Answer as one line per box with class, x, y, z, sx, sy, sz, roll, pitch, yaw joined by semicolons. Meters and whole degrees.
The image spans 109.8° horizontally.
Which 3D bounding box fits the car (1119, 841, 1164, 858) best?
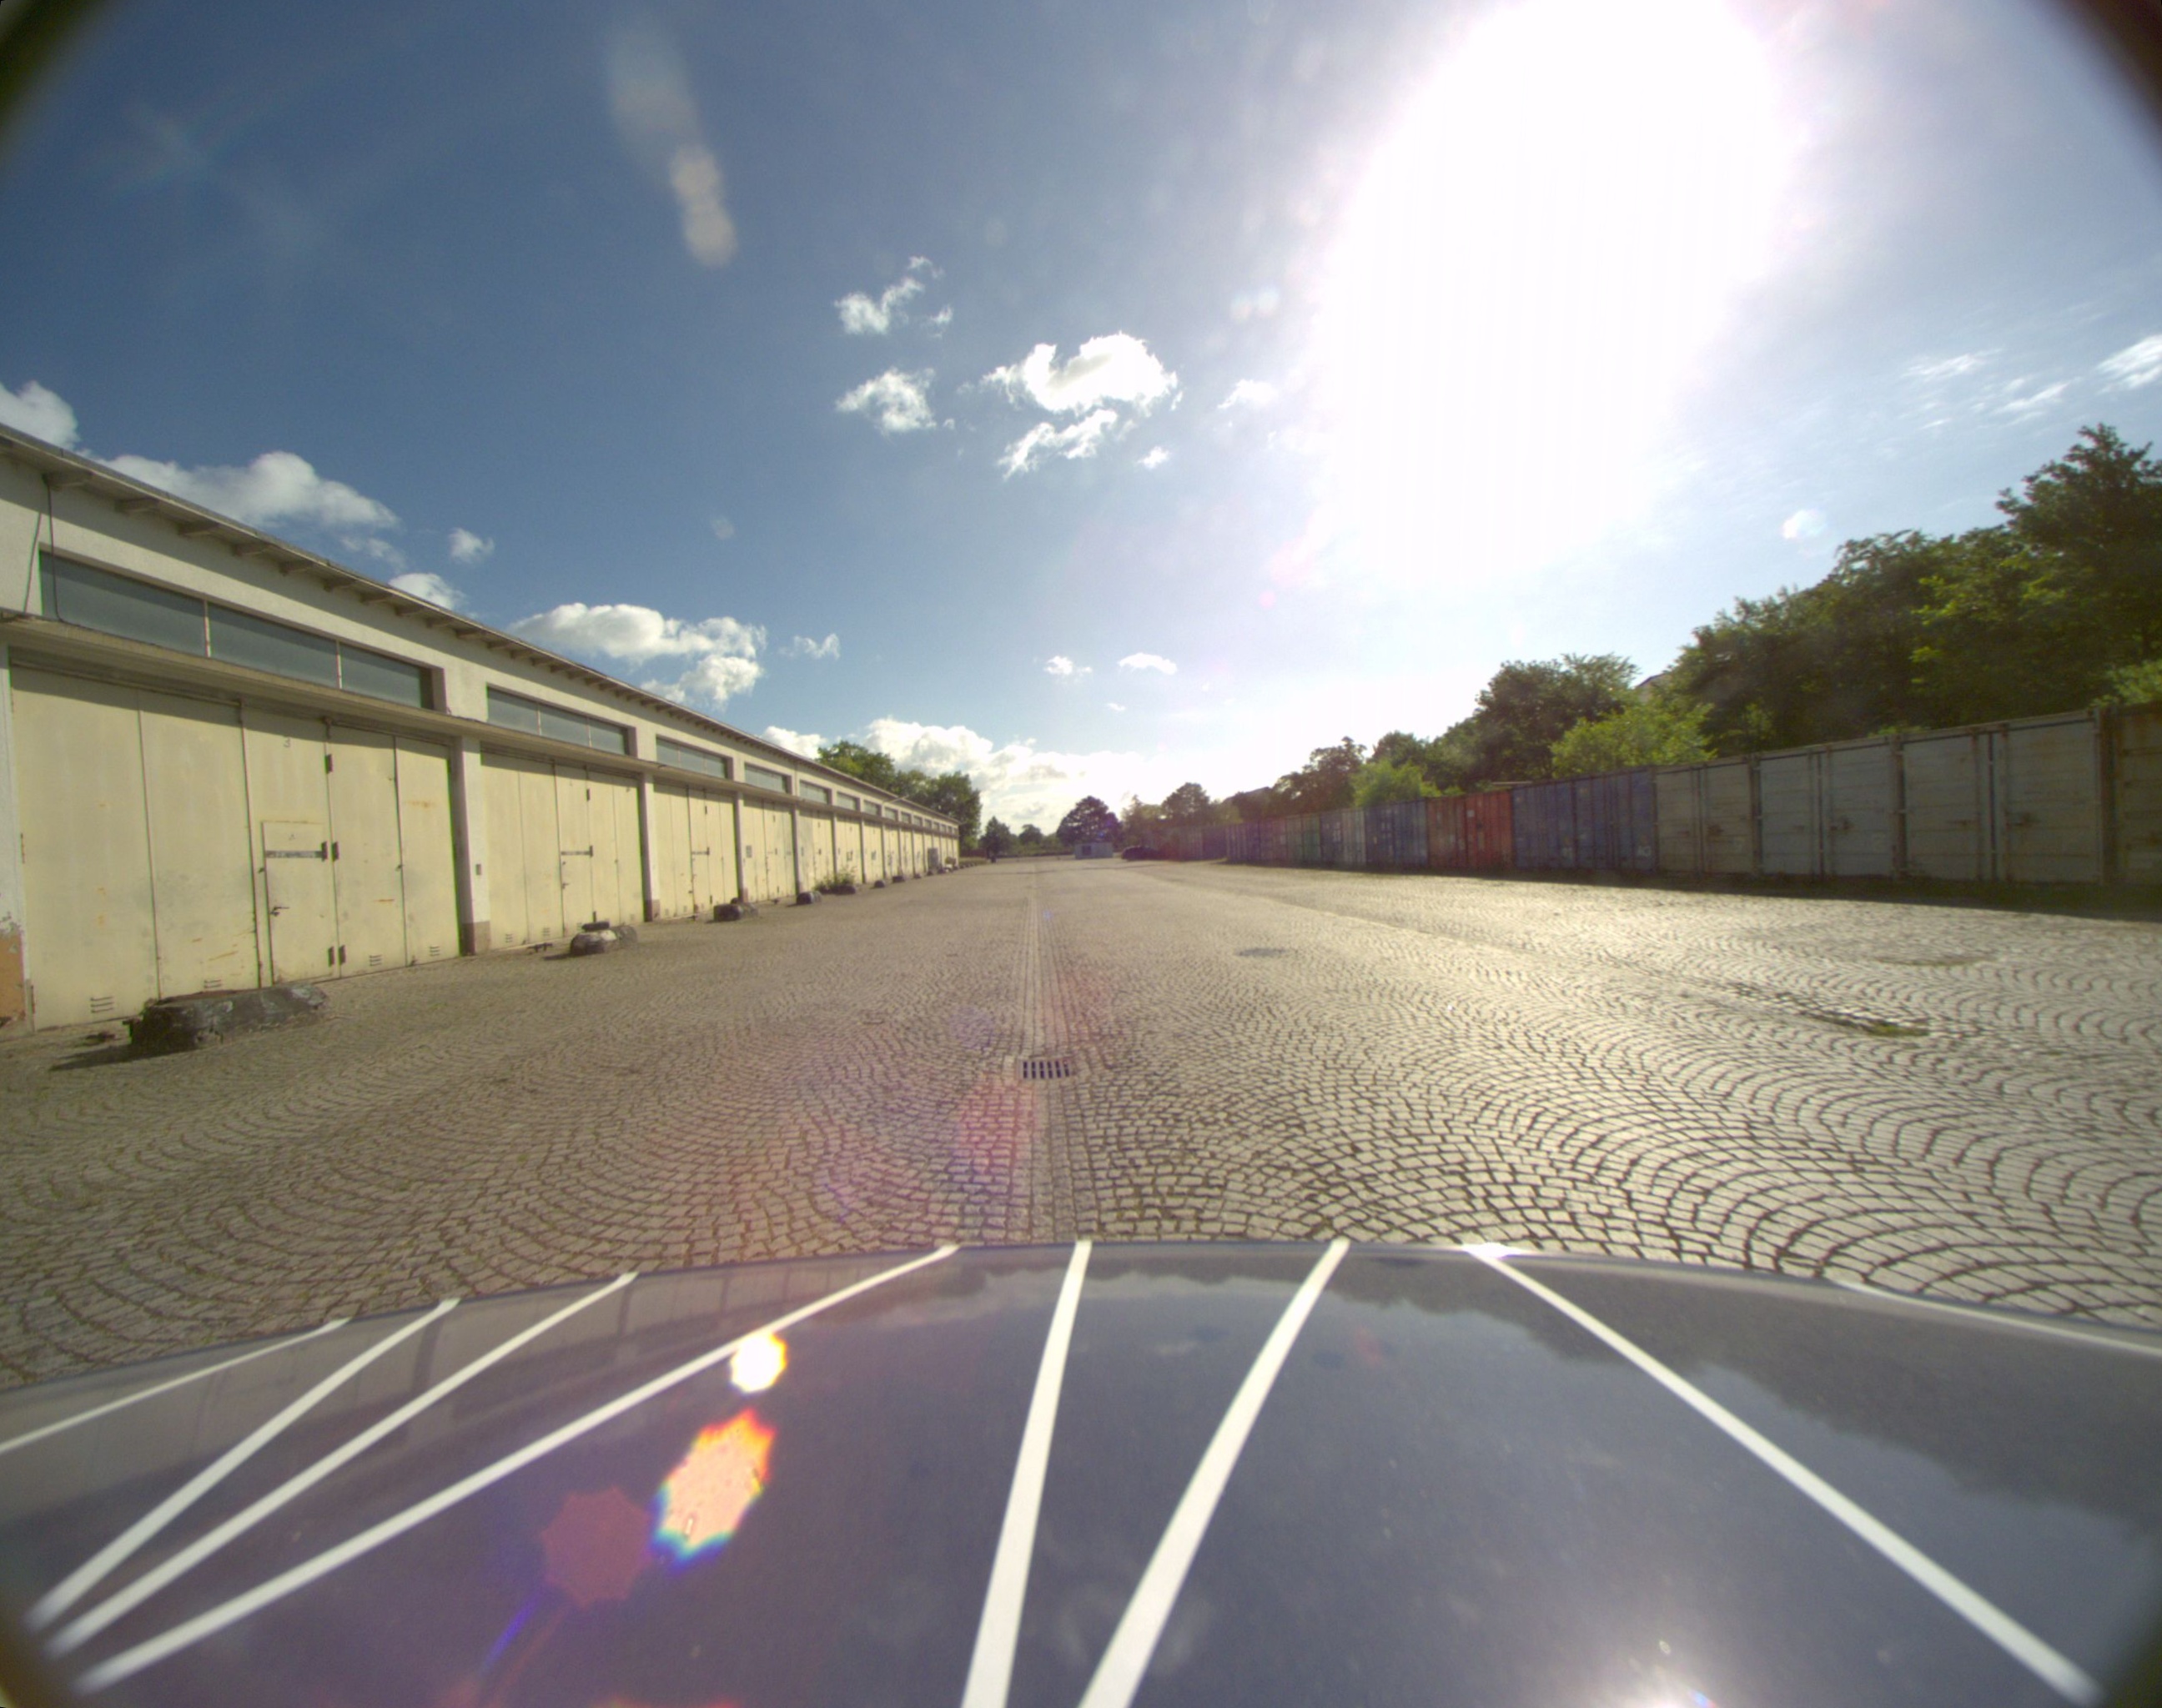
car;6.061;-0.424;76.041;4.114;1.289;1.999;-5;1;-5
